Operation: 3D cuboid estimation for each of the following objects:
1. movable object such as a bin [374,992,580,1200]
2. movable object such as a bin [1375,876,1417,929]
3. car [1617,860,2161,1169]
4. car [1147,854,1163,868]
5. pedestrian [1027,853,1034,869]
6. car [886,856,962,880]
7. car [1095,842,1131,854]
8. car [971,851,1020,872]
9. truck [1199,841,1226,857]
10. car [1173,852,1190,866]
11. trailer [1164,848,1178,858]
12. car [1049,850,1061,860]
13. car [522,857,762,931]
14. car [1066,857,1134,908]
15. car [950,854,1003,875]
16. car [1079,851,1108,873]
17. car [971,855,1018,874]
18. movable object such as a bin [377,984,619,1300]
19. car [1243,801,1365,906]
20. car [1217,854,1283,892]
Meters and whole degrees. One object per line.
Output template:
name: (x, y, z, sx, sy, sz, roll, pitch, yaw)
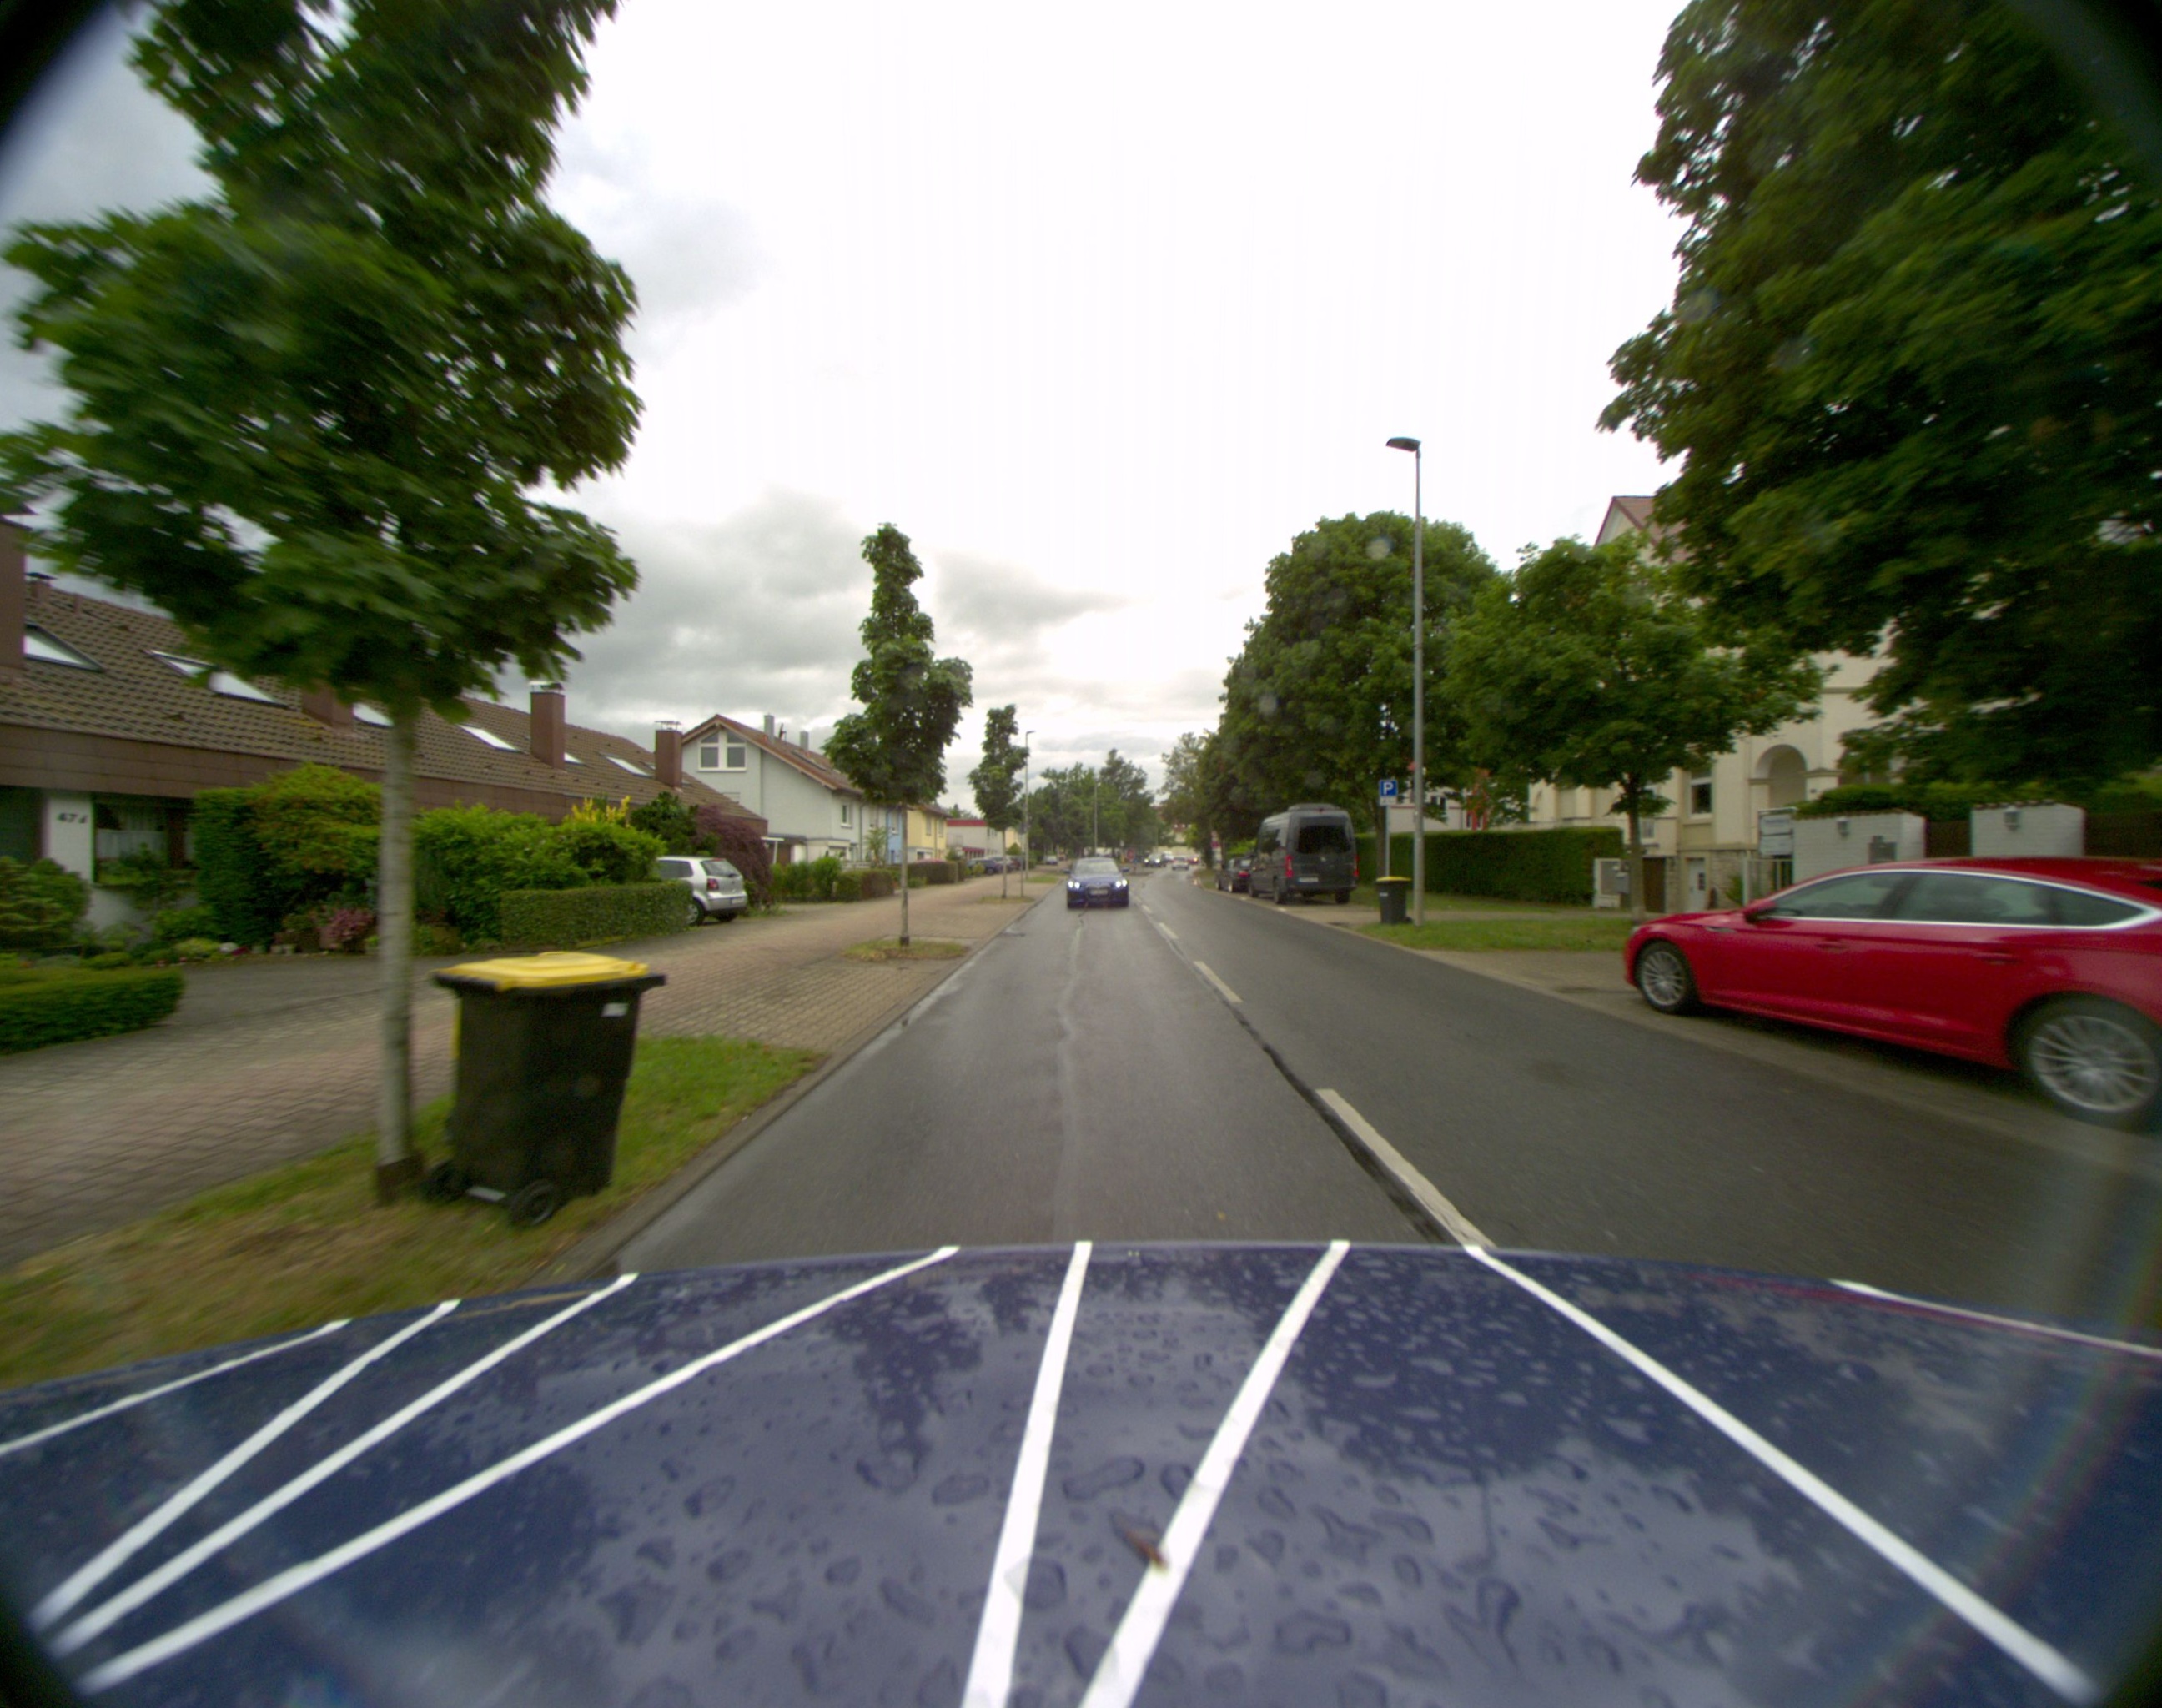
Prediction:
movable object such as a bin: (-3.125, 1.203, 3.951, 0.659, 0.796, 0.602, 3, 2, 26)
movable object such as a bin: (5.813, 0.894, 14.048, 0.559, 0.948, 0.550, -1, 0, 4)
car: (6.080, 0.770, 4.932, 1.998, 1.395, 4.557, -1, 0, 0)
car: (8.650, 0.789, 89.070, 1.840, 1.541, 4.001, -1, 0, 5)
pedestrian: (-4.929, 0.673, 74.276, 0.666, 1.549, 0.842, -1, 1, -4)
car: (-9.376, 0.806, 45.320, 4.319, 1.253, 1.677, -2, 0, -13)
car: (5.404, -1.107, 128.901, 5.824, 2.002, 2.003, 1, 1, 25)
car: (-7.657, 0.632, 68.030, 4.192, 1.662, 1.720, -3, 1, -6)
truck: (17.916, -0.661, 103.273, 2.219, 2.191, 6.474, 0, 0, 23)
car: (10.644, 0.527, 80.255, 1.596, 1.455, 3.456, 0, 0, 12)
trailer: (14.747, -0.213, 124.466, 1.998, 1.534, 4.426, 0, 1, 2)
car: (-4.110, 0.094, 120.530, 1.691, 1.501, 3.826, -1, 1, 2)
car: (-9.117, 0.794, 16.020, 3.996, 1.434, 1.847, 0, 1, 2)
car: (0.544, 0.859, 24.033, 1.913, 1.425, 4.301, -2, -1, 0)
car: (-8.410, 0.856, 61.151, 3.998, 1.378, 1.675, -4, -2, -3)
car: (0.834, 0.520, 52.402, 1.841, 1.440, 3.999, -1, 0, -1)
car: (-8.102, 0.993, 71.494, 4.189, 1.662, 1.991, 0, 1, 2)
movable object such as a bin: (-2.434, 1.135, 3.191, 0.614, 1.009, 0.563, 5, 2, 26)
car: (6.513, 0.001, 22.991, 1.998, 2.712, 5.938, -2, 0, 1)
car: (6.467, 0.684, 29.427, 1.727, 1.400, 3.825, 0, 0, 0)
